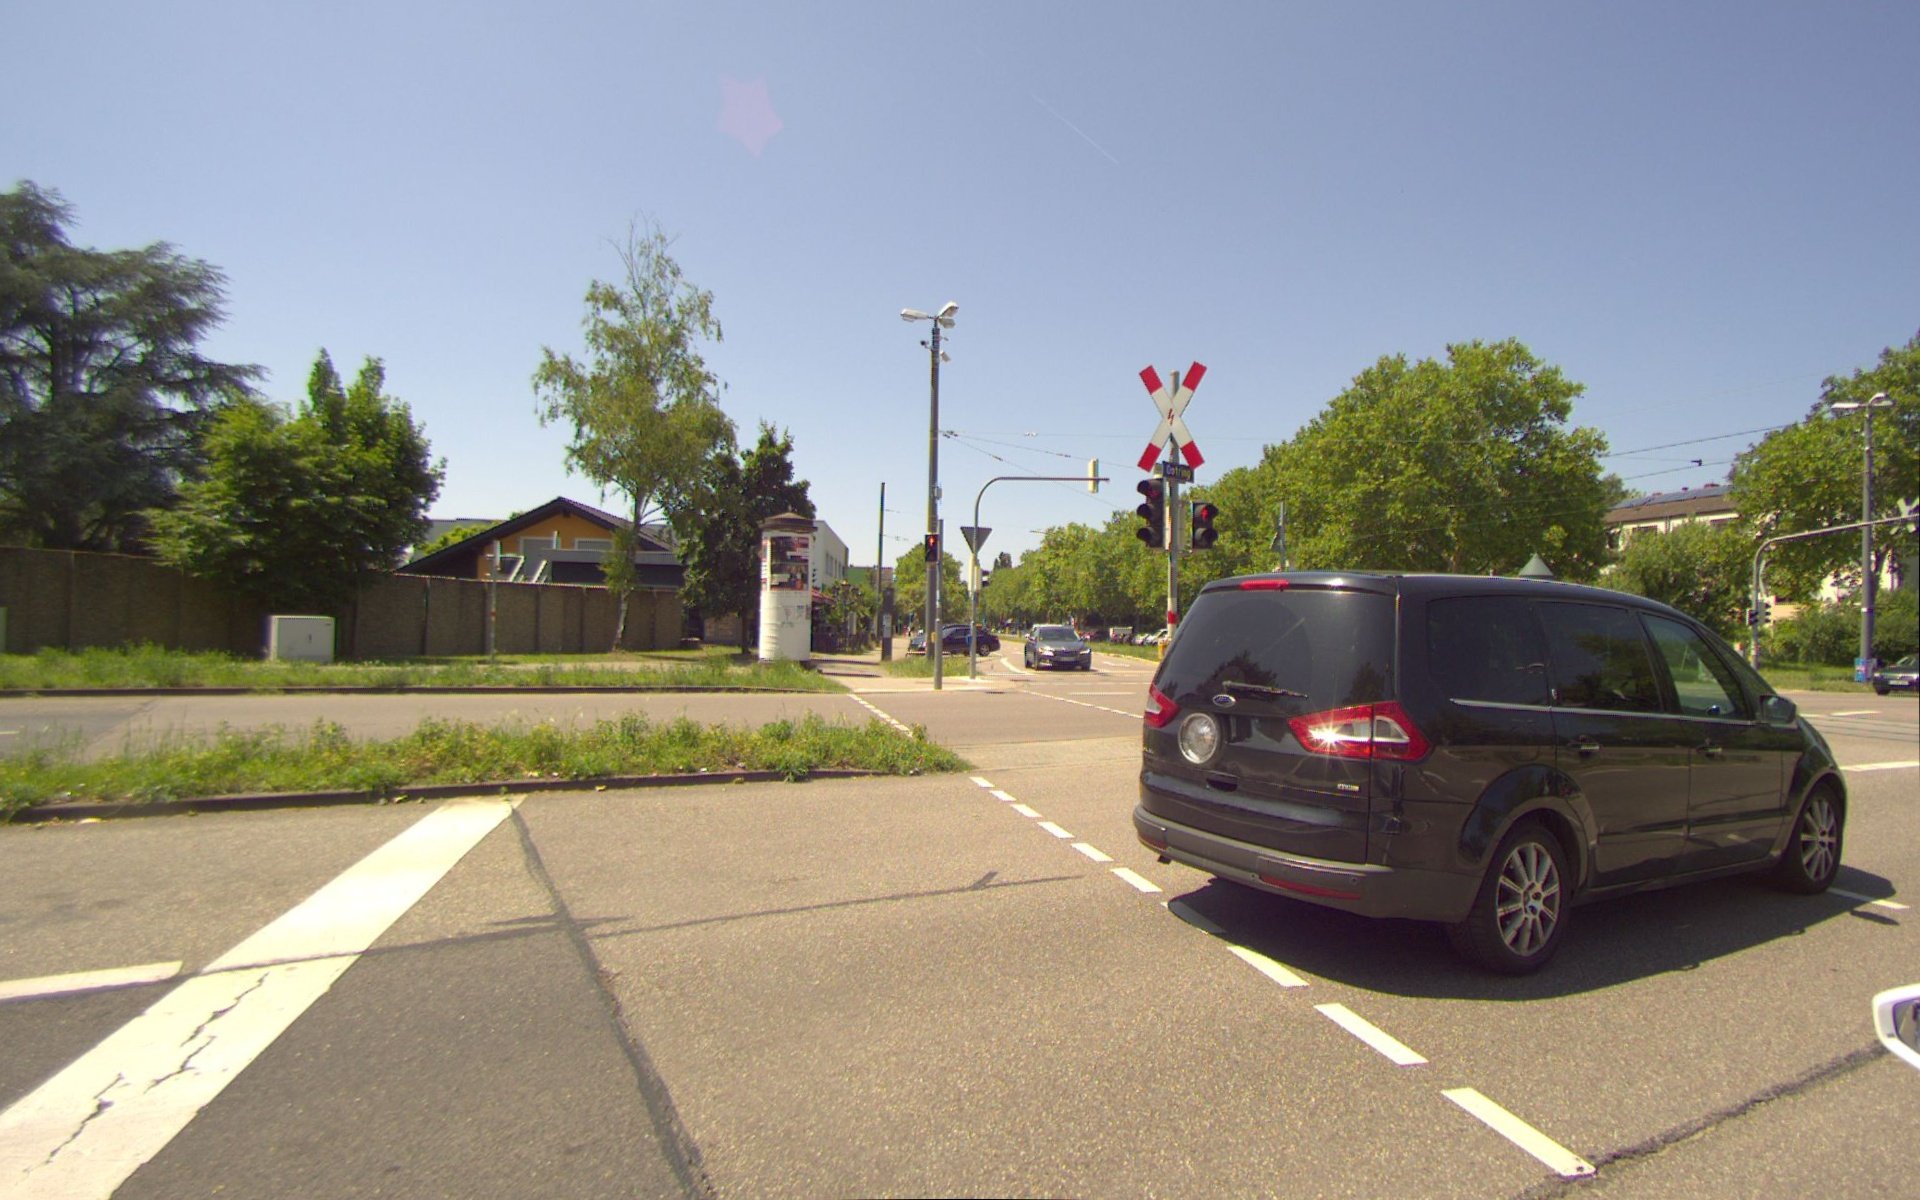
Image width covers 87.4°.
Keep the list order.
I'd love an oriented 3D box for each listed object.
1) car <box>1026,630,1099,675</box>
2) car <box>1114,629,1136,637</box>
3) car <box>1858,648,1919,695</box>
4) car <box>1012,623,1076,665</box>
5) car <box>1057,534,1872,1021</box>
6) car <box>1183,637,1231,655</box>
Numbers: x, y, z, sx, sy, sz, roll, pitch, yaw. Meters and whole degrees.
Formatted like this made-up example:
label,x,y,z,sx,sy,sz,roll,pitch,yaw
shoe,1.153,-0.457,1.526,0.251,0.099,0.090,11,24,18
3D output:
label,x,y,z,sx,sy,sz,roll,pitch,yaw
car,3.398,1.727,34.101,1.851,1.398,4.670,1,-2,-2
car,20.874,4.176,127.174,2.669,1.007,1.008,1,-1,-5
car,32.845,2.395,33.938,4.678,1.459,1.945,2,-1,-23
car,3.467,1.823,42.366,2.173,1.626,4.461,1,-1,-2
car,2.965,0.717,5.627,4.593,1.779,1.845,2,-1,-30
car,20.077,3.747,81.641,3.483,1.415,1.498,1,-1,-7
